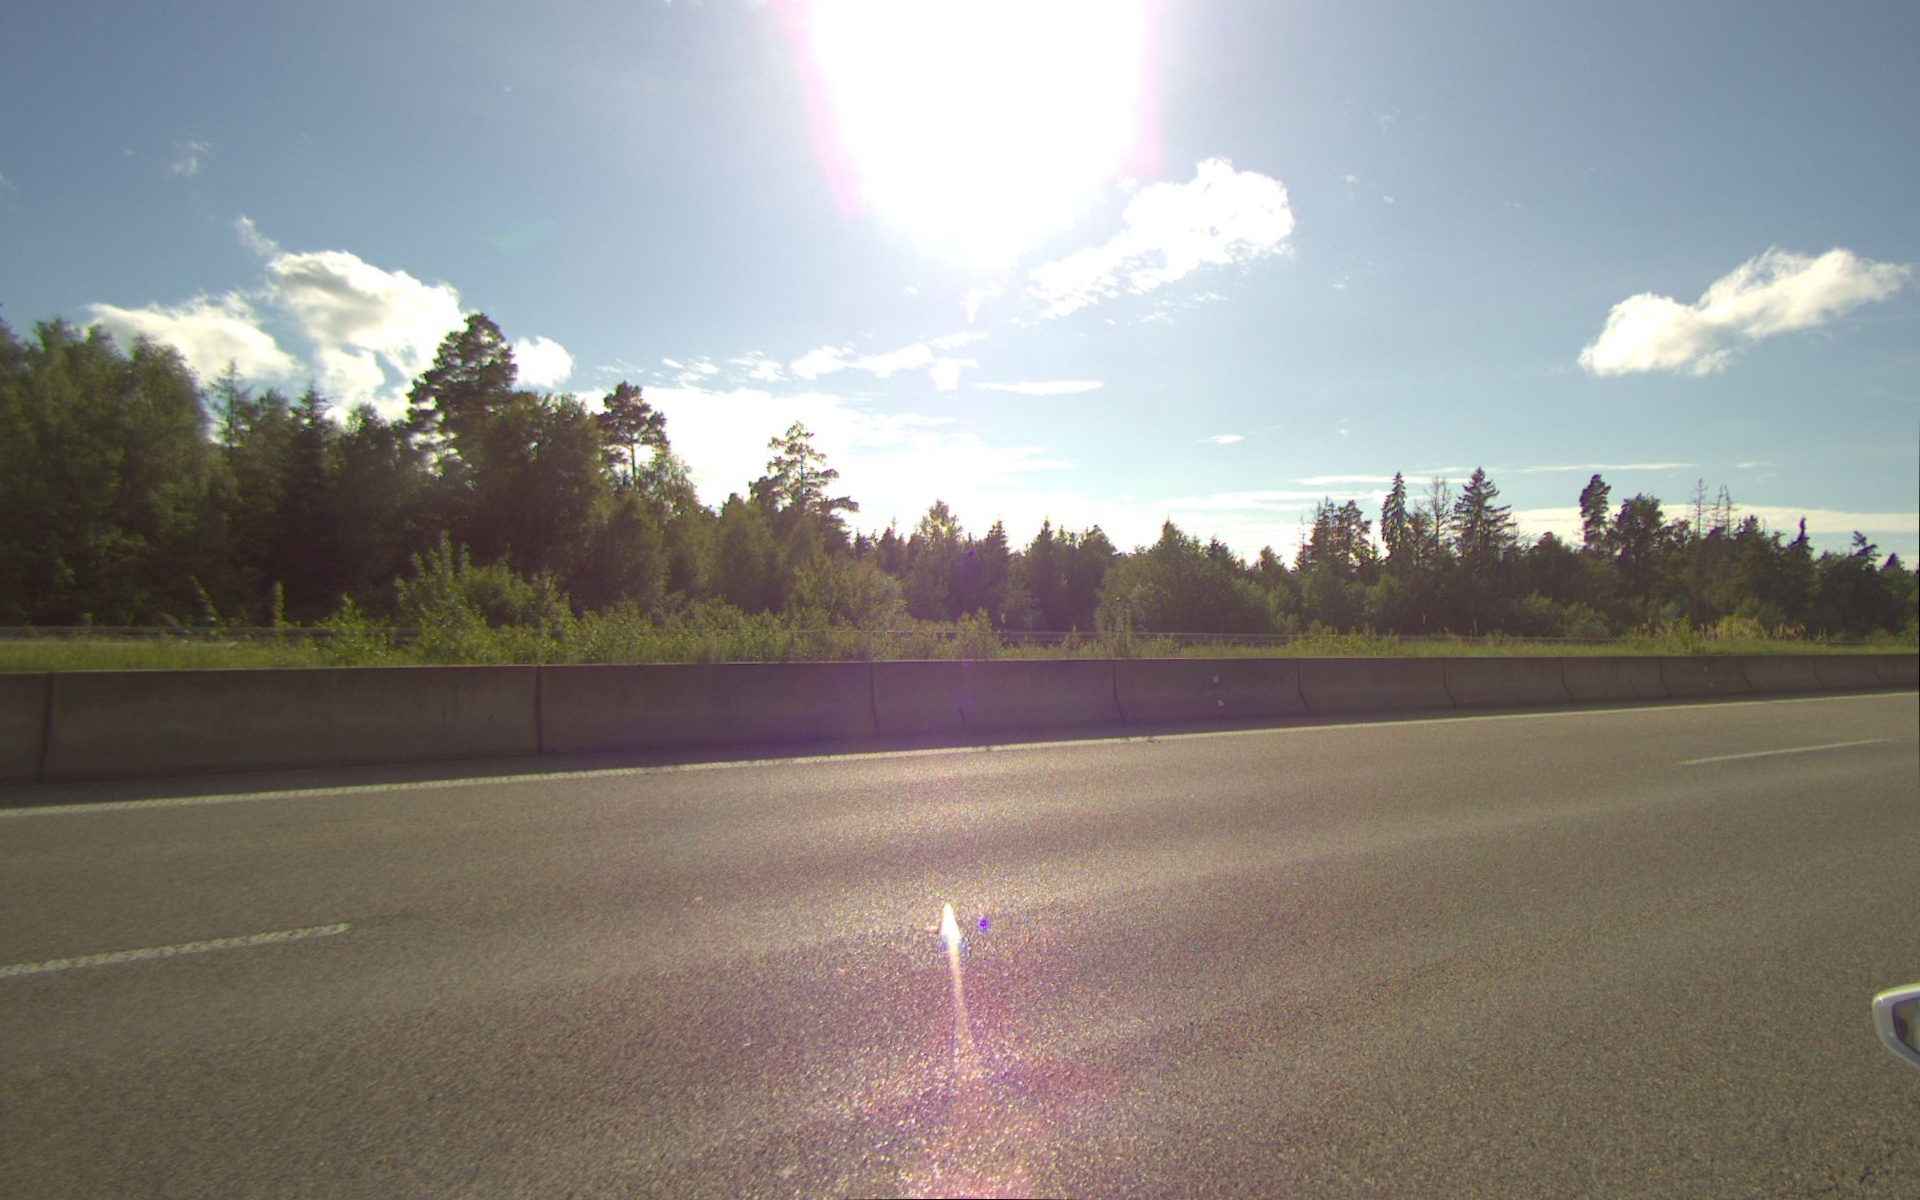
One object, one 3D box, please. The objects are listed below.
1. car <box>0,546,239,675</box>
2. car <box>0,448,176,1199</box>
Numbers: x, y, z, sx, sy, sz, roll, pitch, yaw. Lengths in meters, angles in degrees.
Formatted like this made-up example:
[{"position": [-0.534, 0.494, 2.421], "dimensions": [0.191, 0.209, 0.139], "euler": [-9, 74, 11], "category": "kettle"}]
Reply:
[{"position": [-15.602, 0.168, 16.976], "dimensions": [5.323, 2.040, 1.984], "euler": [1, 0, -30], "category": "car"}, {"position": [-4.206, 0.516, 1.513], "dimensions": [4.475, 1.729, 1.984], "euler": [1, 0, -30], "category": "car"}]
